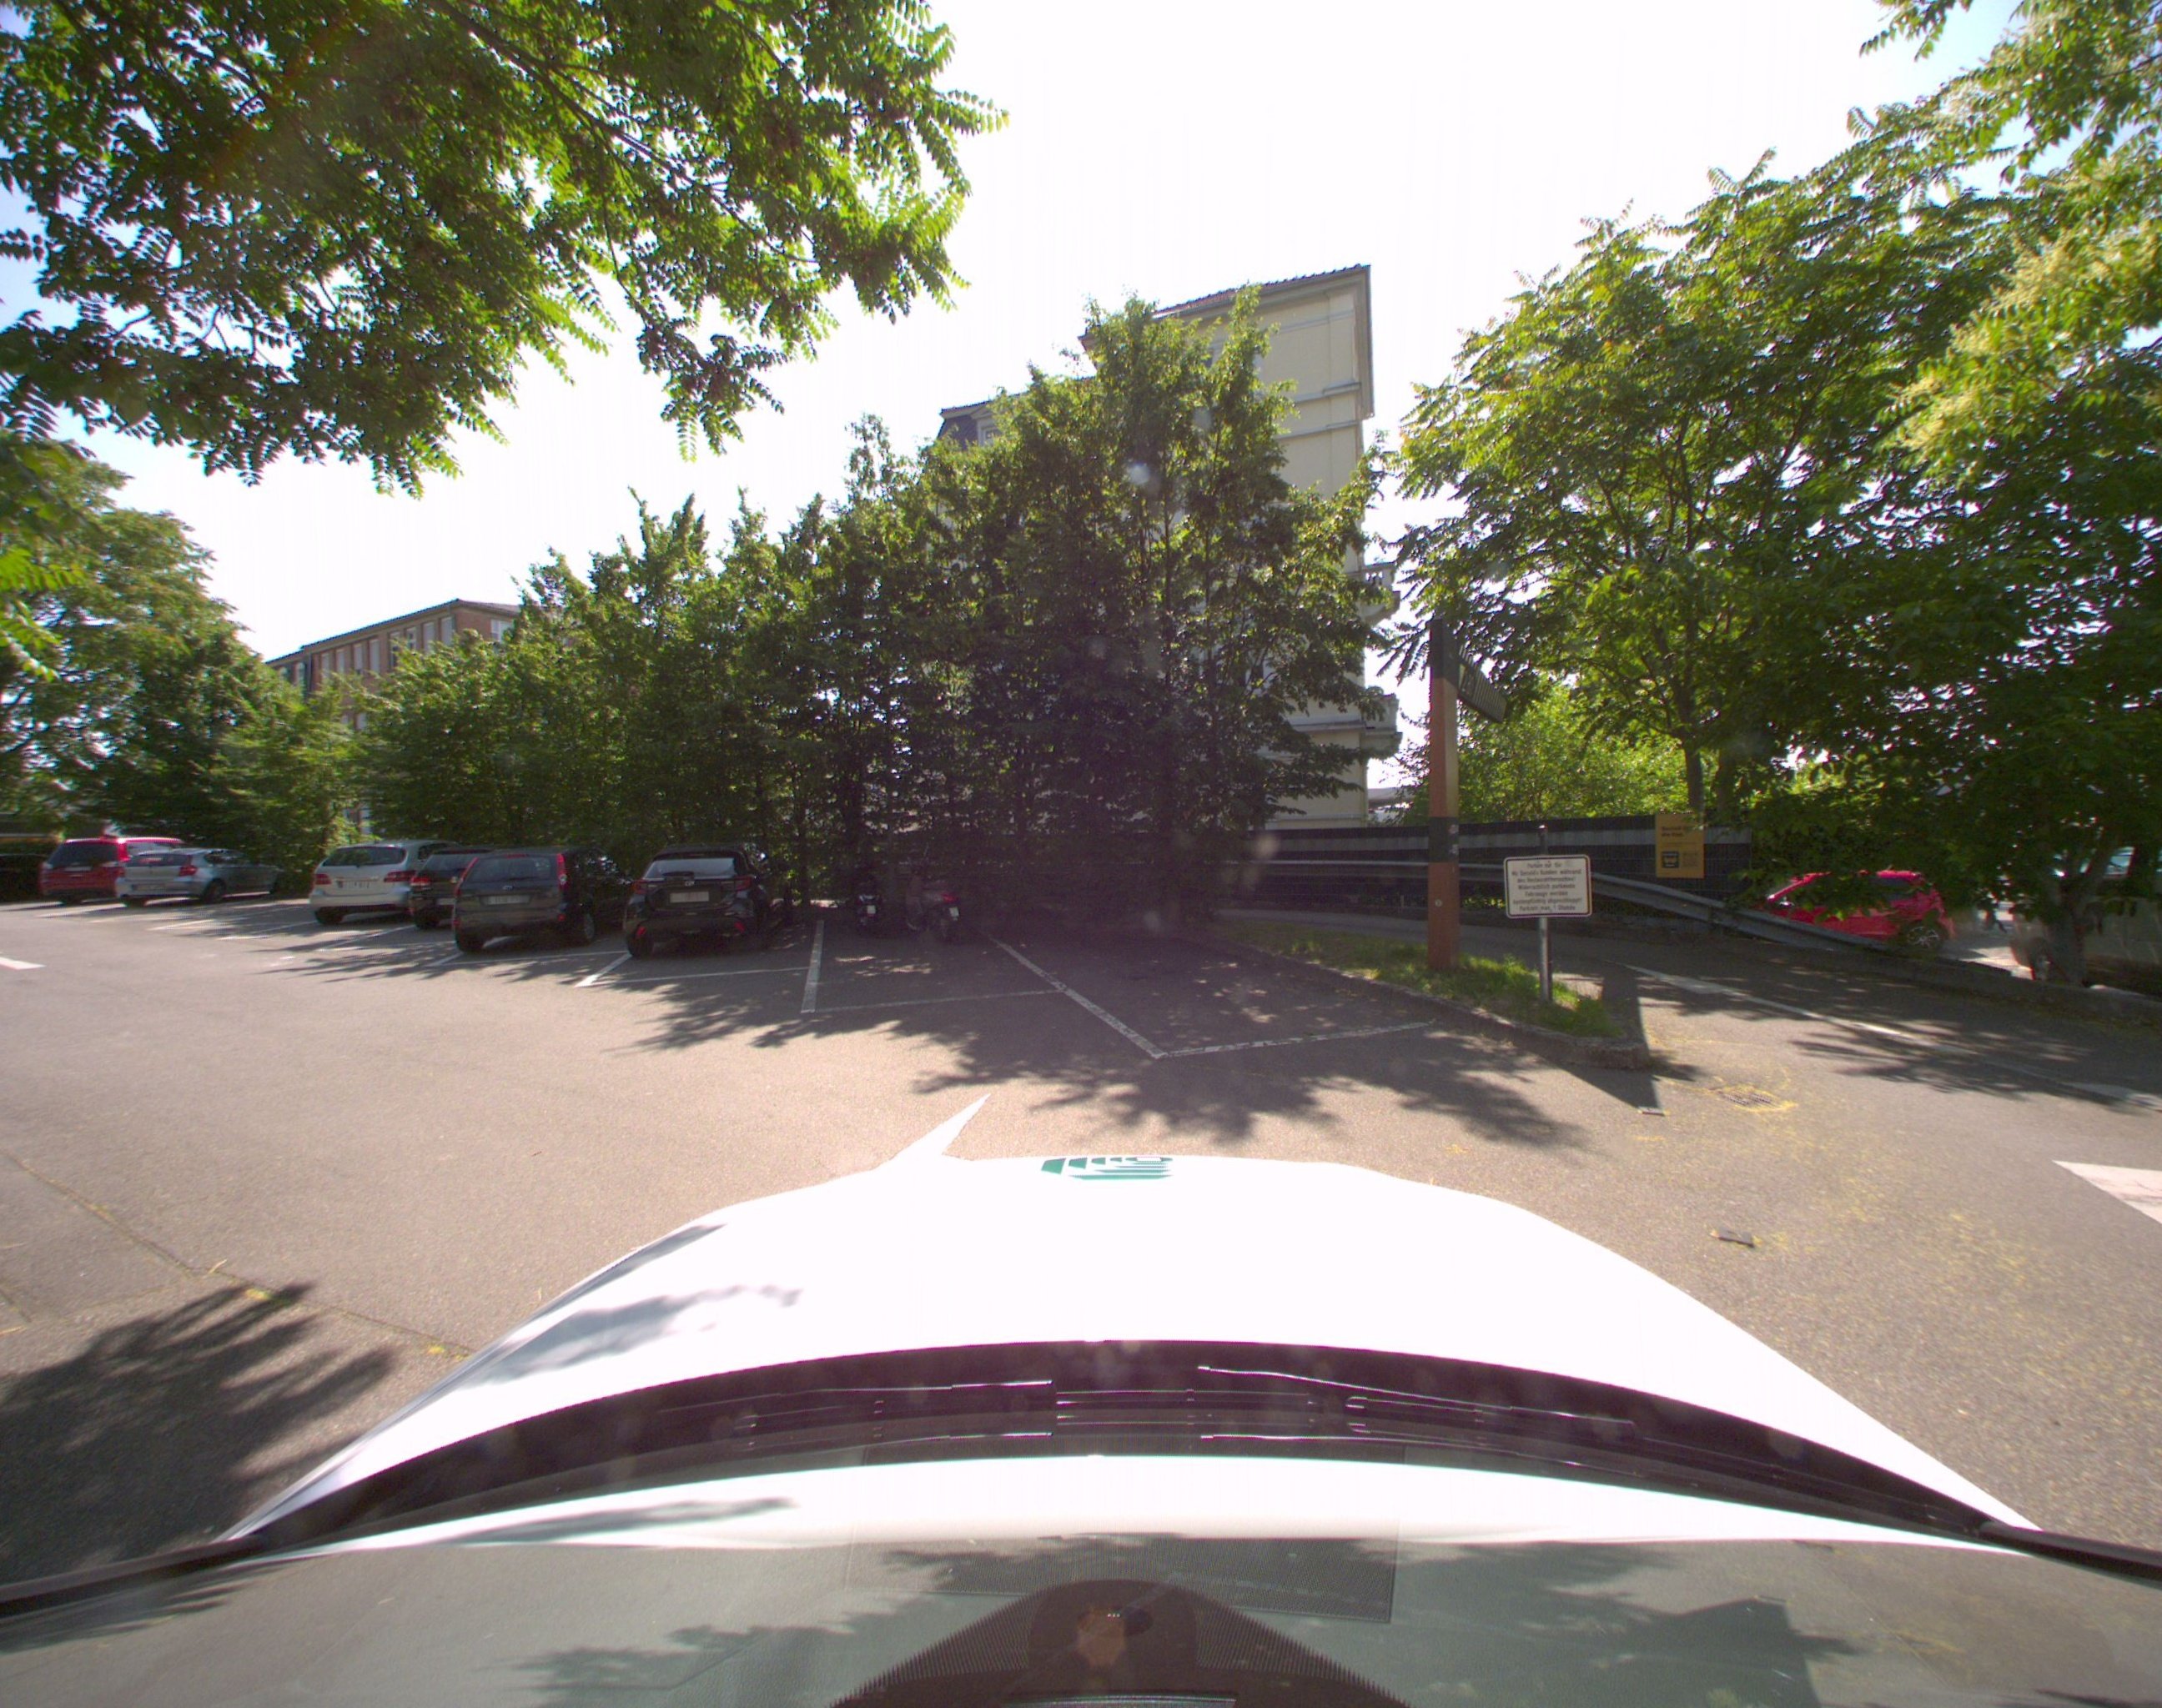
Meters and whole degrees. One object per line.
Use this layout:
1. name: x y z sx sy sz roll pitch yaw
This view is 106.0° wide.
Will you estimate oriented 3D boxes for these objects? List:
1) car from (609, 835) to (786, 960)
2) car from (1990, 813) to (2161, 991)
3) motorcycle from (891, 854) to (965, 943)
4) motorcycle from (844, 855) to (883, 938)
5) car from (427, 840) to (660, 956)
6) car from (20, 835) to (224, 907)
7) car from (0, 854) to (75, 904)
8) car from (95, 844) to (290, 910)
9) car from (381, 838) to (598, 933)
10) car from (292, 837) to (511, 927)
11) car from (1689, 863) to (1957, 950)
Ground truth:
1. car: -5.590 0.497 12.359 1.658 1.469 3.886 -2 3 -14
2. car: 11.167 0.393 7.851 1.933 1.583 5.064 1 2 33
3. motorcycle: -2.236 0.599 11.755 0.571 1.169 1.591 -2 1 -28
4. motorcycle: -3.375 0.613 12.577 0.474 1.140 1.596 -2 2 -18
5. car: -8.373 0.559 13.157 1.700 1.453 3.985 -2 2 -12
6. car: -26.900 0.387 23.082 1.773 1.734 3.977 -4 3 -18
7. car: -31.568 0.750 23.125 1.773 1.389 3.977 -2 1 -17
8. car: -23.611 0.519 21.889 1.774 1.475 3.975 -2 2 -19
9. car: -11.333 0.495 15.992 1.768 1.469 3.988 -2 3 -10
10. car: -14.063 0.475 17.197 1.769 1.571 3.985 -2 2 -11
11. car: 13.531 0.929 15.090 3.373 1.378 1.495 -1 2 23
